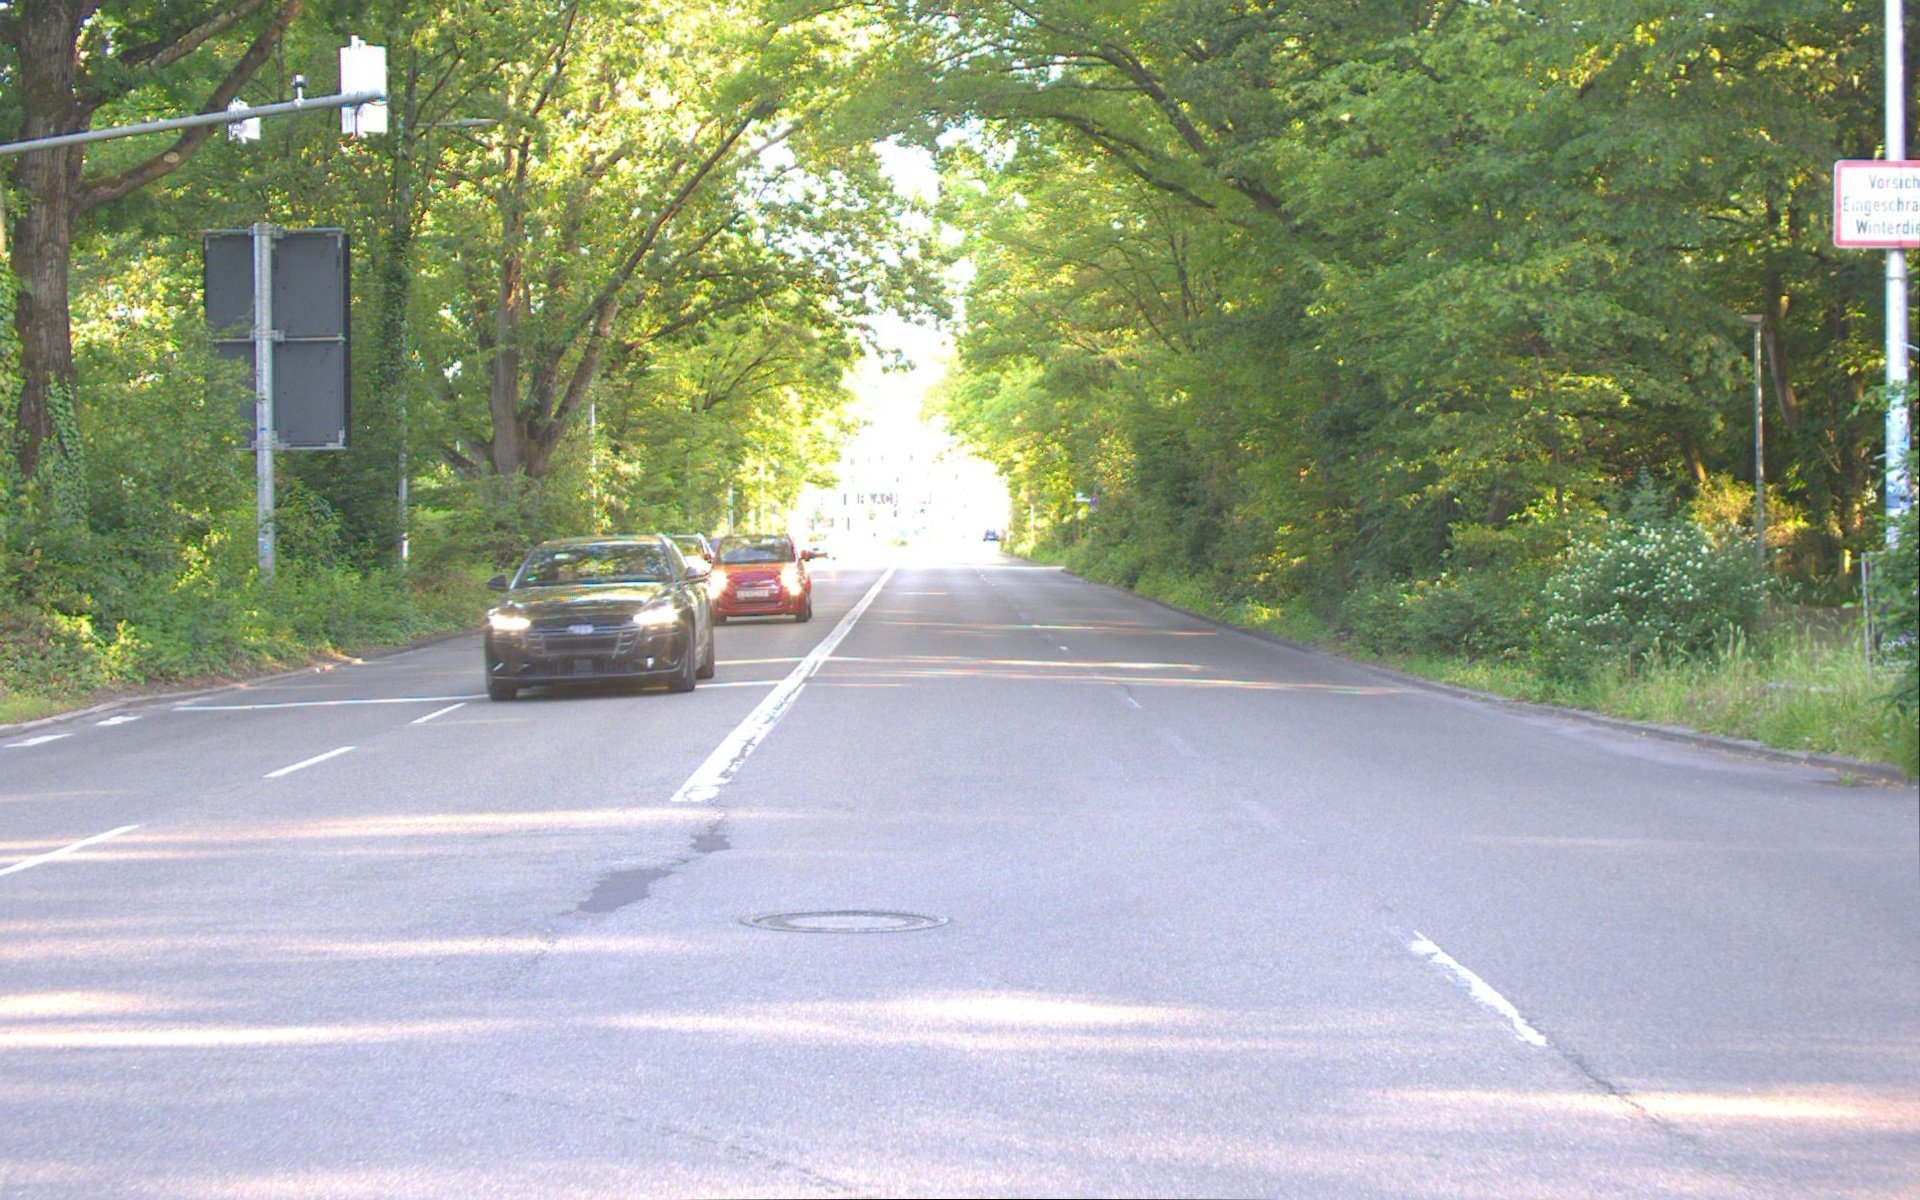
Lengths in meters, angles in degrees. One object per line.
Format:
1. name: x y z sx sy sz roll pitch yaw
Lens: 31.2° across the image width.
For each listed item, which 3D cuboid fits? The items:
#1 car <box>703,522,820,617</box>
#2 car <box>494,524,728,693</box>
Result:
1. car: -3.289 -0.529 57.675 1.797 1.501 4.365 -1 1 -1
2. car: -3.294 0.039 33.181 1.887 1.501 4.365 -1 1 -1
